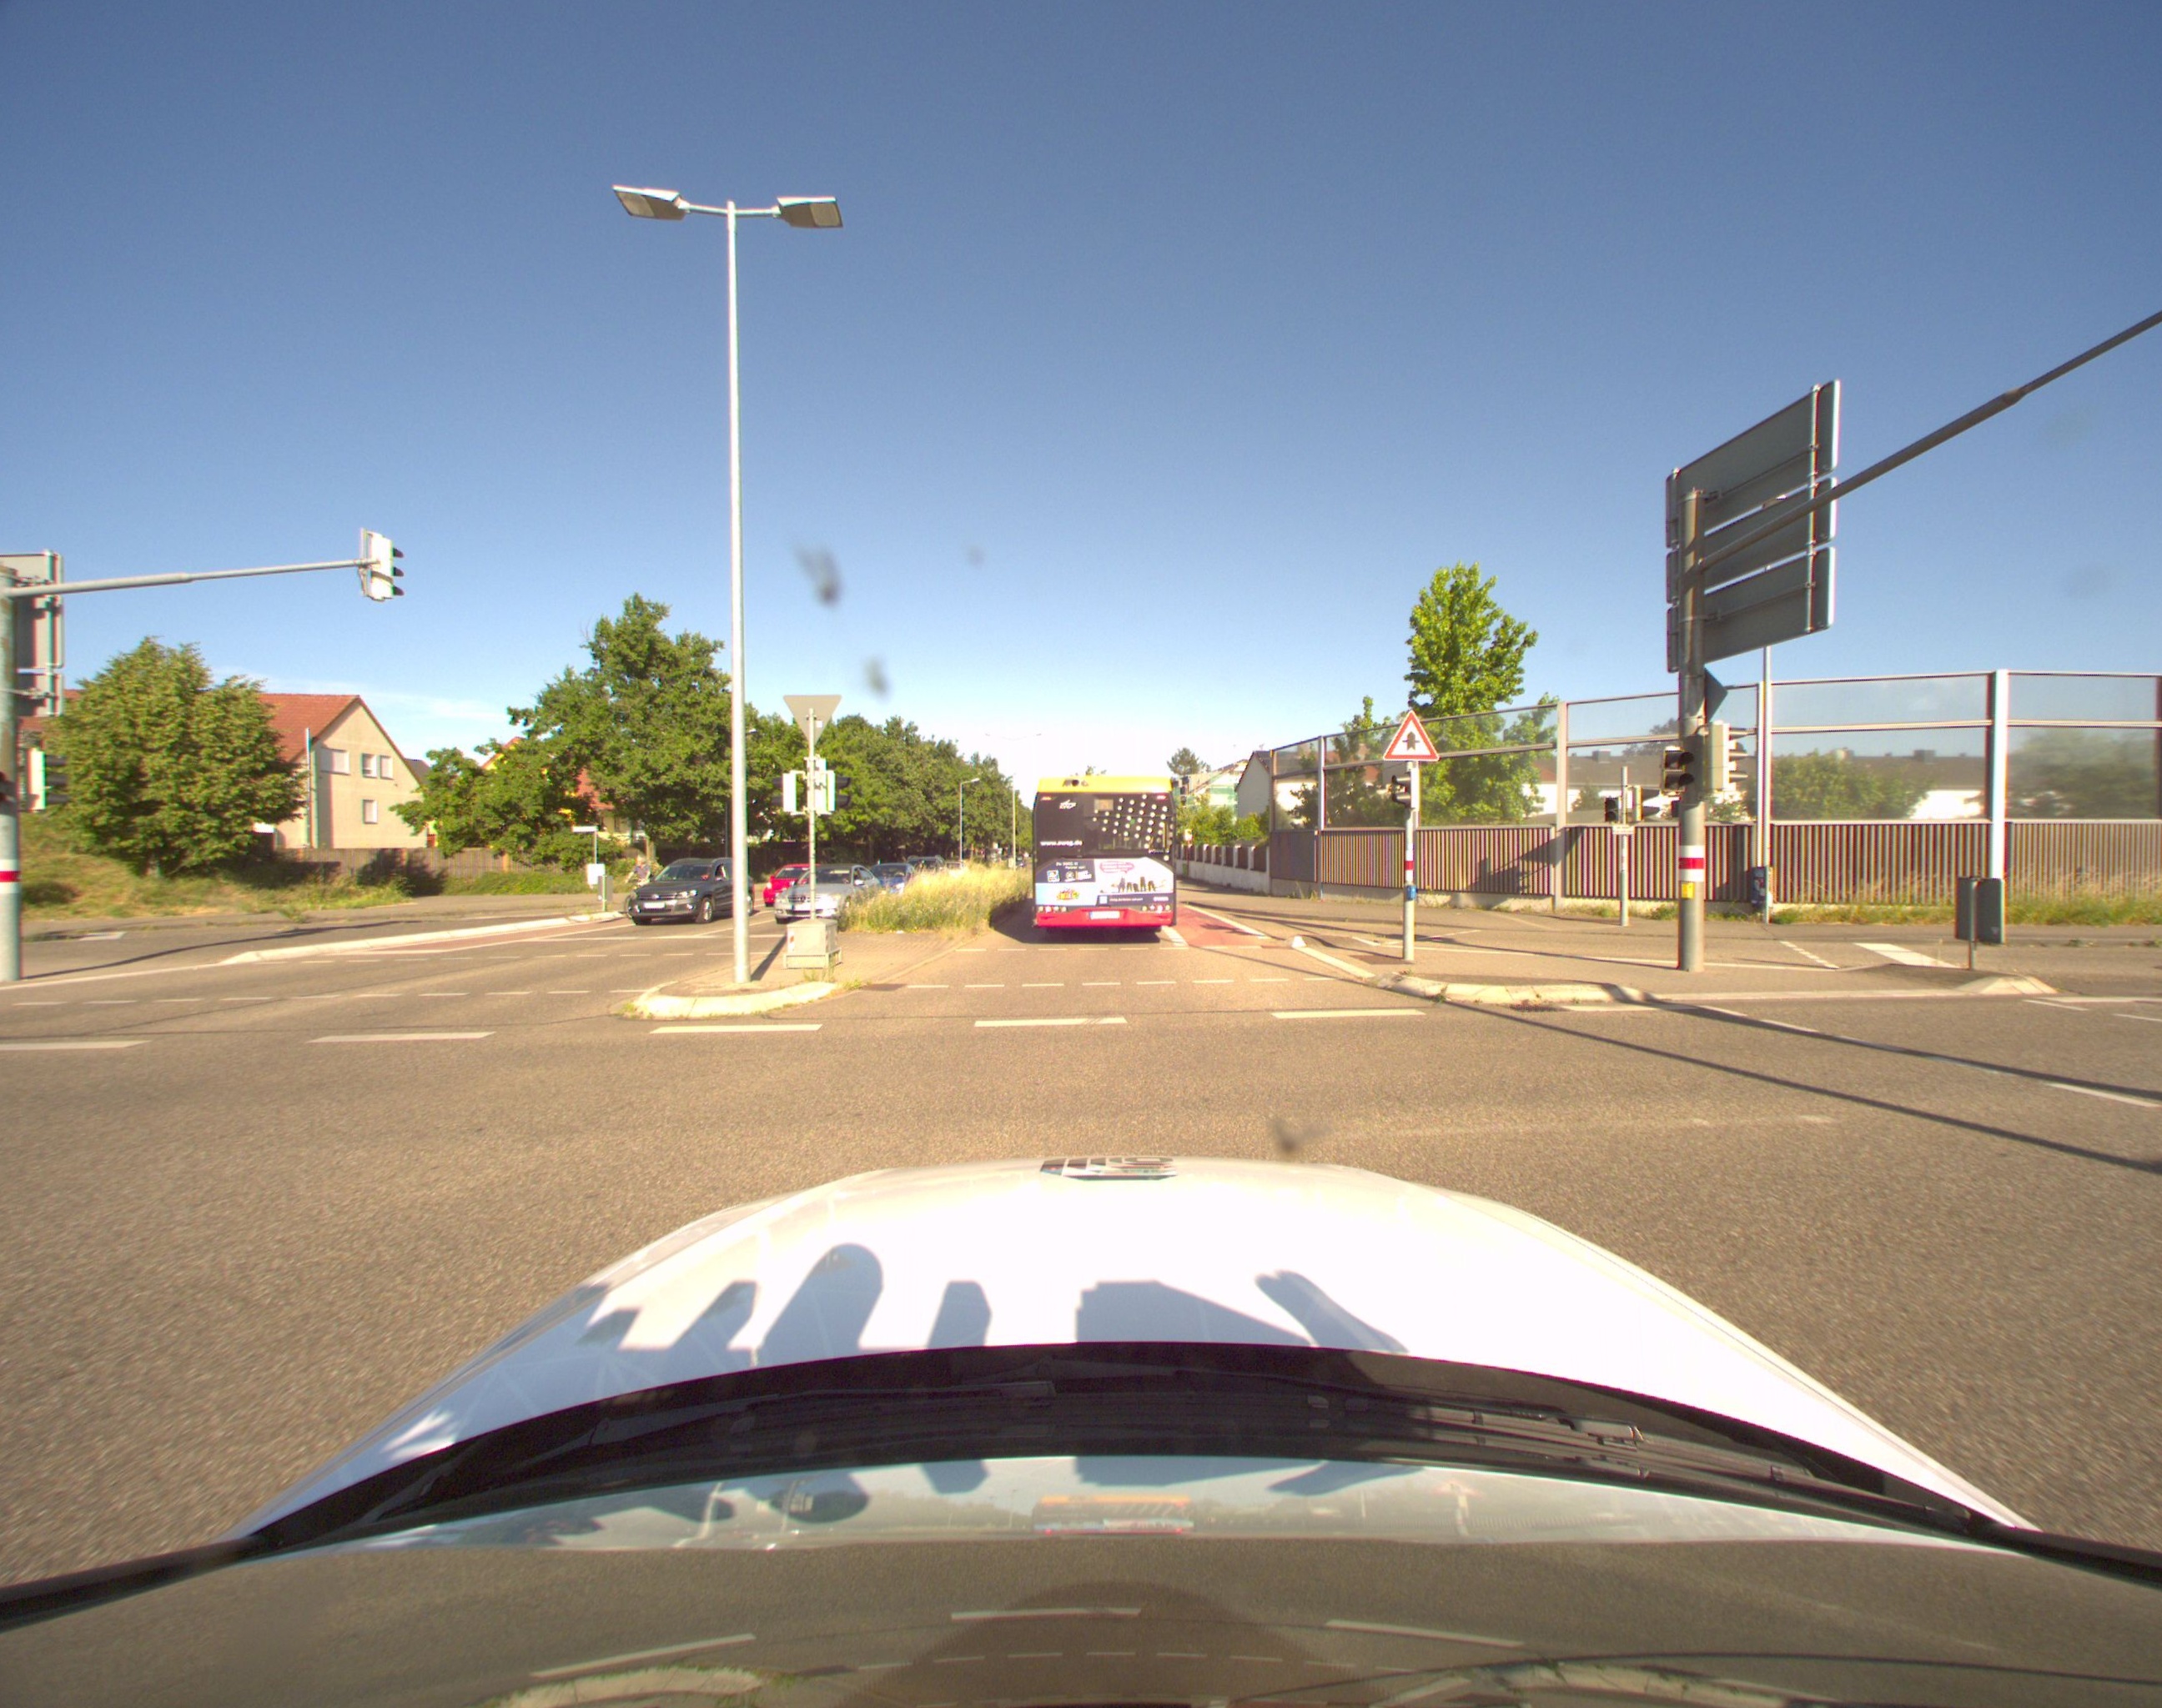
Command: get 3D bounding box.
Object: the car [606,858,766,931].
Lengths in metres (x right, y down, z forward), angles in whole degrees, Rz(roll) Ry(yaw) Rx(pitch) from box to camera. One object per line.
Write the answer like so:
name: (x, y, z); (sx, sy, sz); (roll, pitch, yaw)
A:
car: (-10.353, 0.974, 21.806); (1.987, 1.644, 4.531); (-1, 1, 1)

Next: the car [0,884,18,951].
car: (-23.558, 1.265, 15.053); (2.021, 1.309, 4.713); (-1, -1, 38)

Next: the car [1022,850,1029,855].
car: (-16.621, -0.485, 245.478); (1.932, 1.454, 3.990); (0, 0, -7)

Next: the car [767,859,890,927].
car: (-6.548, 0.939, 21.705); (1.787, 1.506, 4.531); (-1, 1, 1)

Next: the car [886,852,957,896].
car: (-6.402, 0.763, 33.246); (1.987, 1.616, 4.530); (-1, 1, 0)

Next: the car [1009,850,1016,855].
car: (-20.693, -0.494, 245.051); (1.932, 1.454, 3.990); (0, 0, -7)

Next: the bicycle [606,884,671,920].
bicycle: (-12.577, 1.353, 23.234); (0.746, 0.847, 1.990); (-1, 1, 0)

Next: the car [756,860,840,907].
car: (-10.004, 0.994, 29.040); (1.640, 1.483, 3.714); (-1, 1, 1)

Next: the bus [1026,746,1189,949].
bus: (0.579, -0.098, 20.266); (2.747, 3.458, 12.400); (-1, 0, 1)

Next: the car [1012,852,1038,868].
car: (-5.669, 0.587, 82.870); (1.699, 1.430, 4.010); (-2, 0, 9)

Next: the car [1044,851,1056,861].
car: (-5.770, 0.358, 150.942); (1.931, 1.742, 3.992); (0, 0, -6)

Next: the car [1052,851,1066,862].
car: (-3.515, 0.457, 128.793); (1.933, 1.704, 3.992); (0, 0, -6)

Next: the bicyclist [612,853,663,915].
bicyclist: (-12.596, 0.830, 23.182); (0.742, 1.702, 1.242); (-1, 0, -1)

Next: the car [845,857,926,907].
car: (-6.587, 0.889, 27.811); (1.741, 1.483, 3.888); (-1, 1, 1)

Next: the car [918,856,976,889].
car: (-6.282, 0.840, 38.651); (1.987, 1.450, 4.398); (-1, 0, 0)
